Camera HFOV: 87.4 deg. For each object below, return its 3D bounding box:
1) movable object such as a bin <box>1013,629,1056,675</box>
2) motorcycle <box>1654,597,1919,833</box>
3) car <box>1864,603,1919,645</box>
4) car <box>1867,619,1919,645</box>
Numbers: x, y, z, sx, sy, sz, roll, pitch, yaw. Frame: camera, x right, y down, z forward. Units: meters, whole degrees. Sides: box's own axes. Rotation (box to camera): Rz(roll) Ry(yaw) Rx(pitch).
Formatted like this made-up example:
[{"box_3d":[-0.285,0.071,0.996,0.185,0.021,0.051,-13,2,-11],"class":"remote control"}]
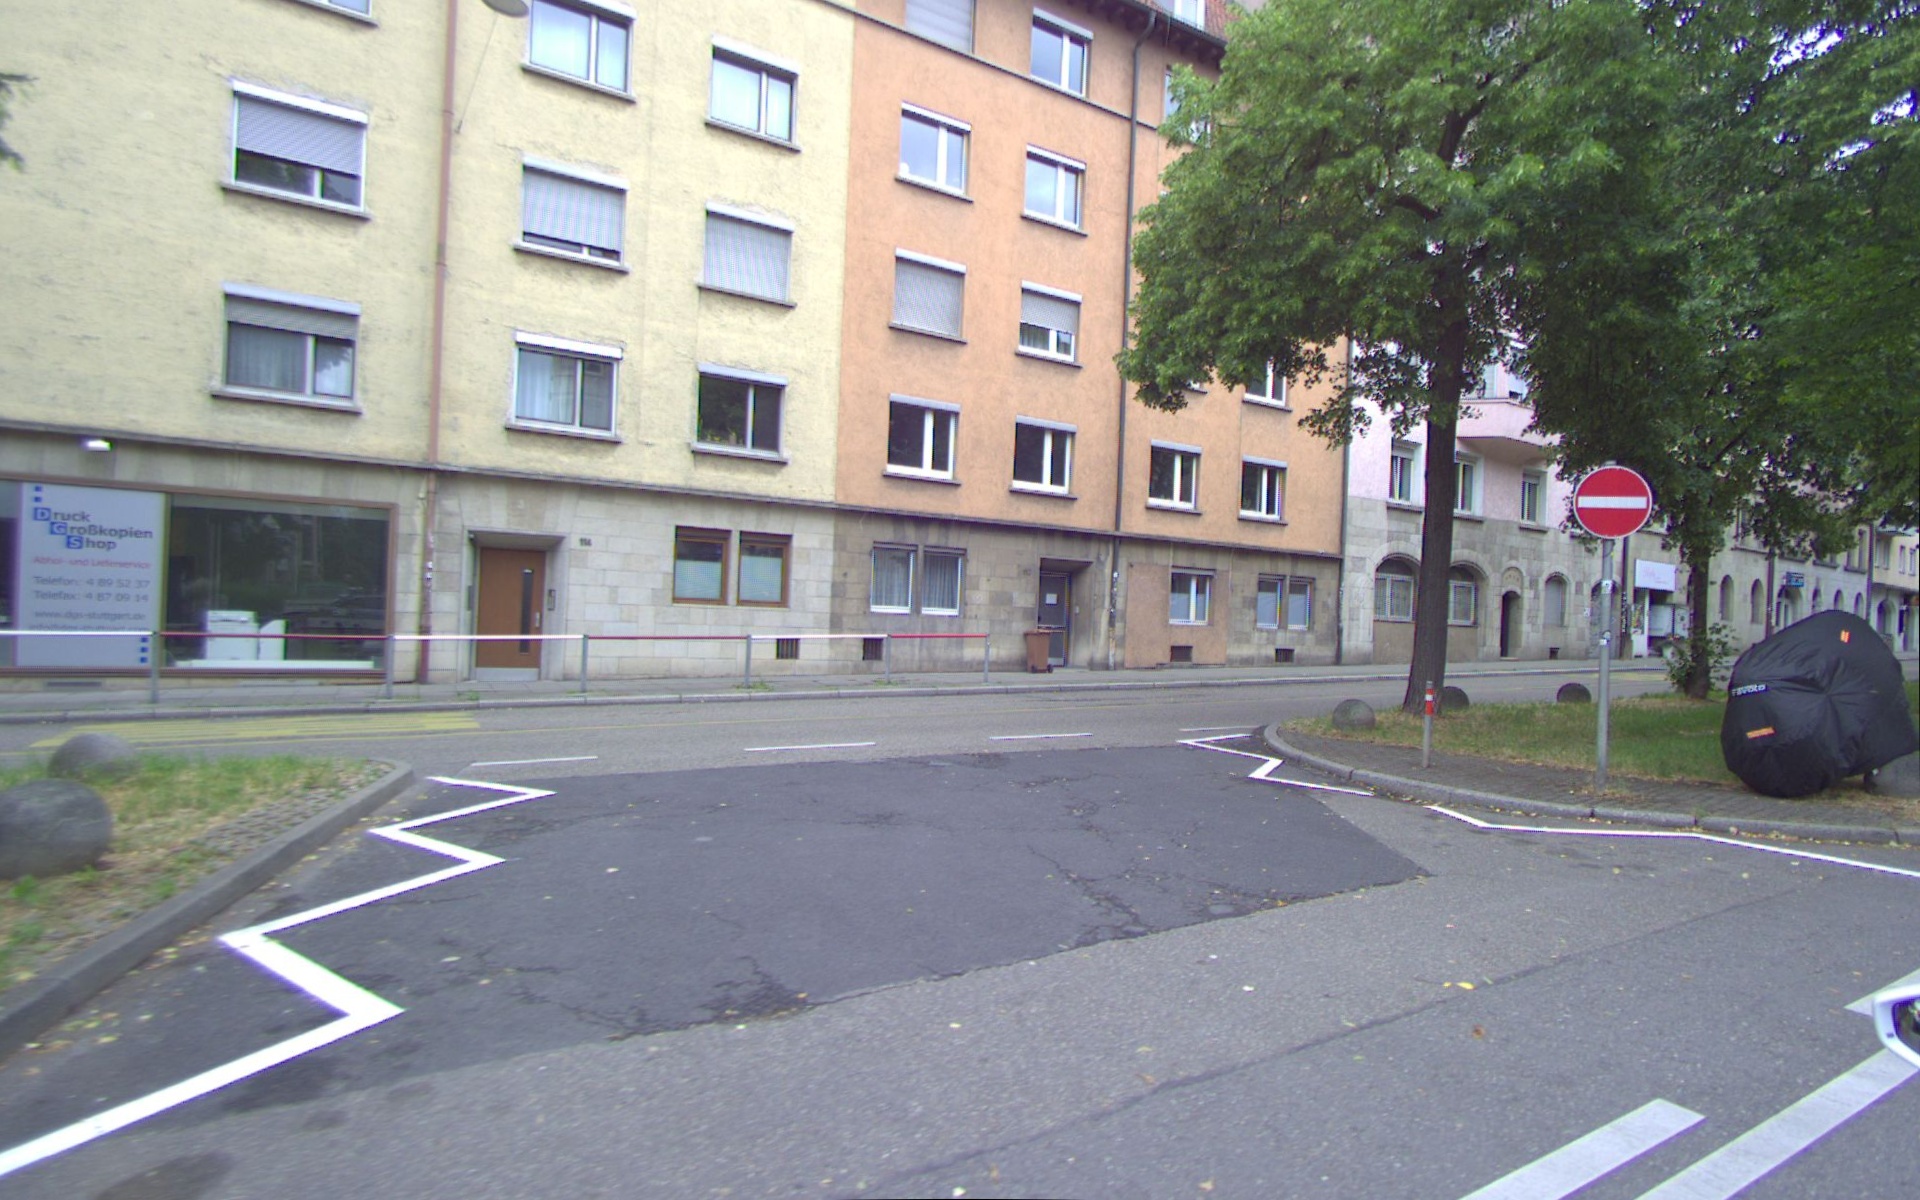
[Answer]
[{"box_3d":[1.606,1.113,21.676,0.770,0.939,0.509,1,1,-31],"class":"movable object such as a bin"},{"box_3d":[6.601,0.795,7.928,2.592,1.551,0.819,-2,2,-30],"class":"motorcycle"},{"box_3d":[67.197,1.721,70.671,2.162,2.773,5.122,1,1,-44],"class":"car"},{"box_3d":[61.181,2.112,64.292,2.026,1.439,4.261,1,3,-34],"class":"car"}]
